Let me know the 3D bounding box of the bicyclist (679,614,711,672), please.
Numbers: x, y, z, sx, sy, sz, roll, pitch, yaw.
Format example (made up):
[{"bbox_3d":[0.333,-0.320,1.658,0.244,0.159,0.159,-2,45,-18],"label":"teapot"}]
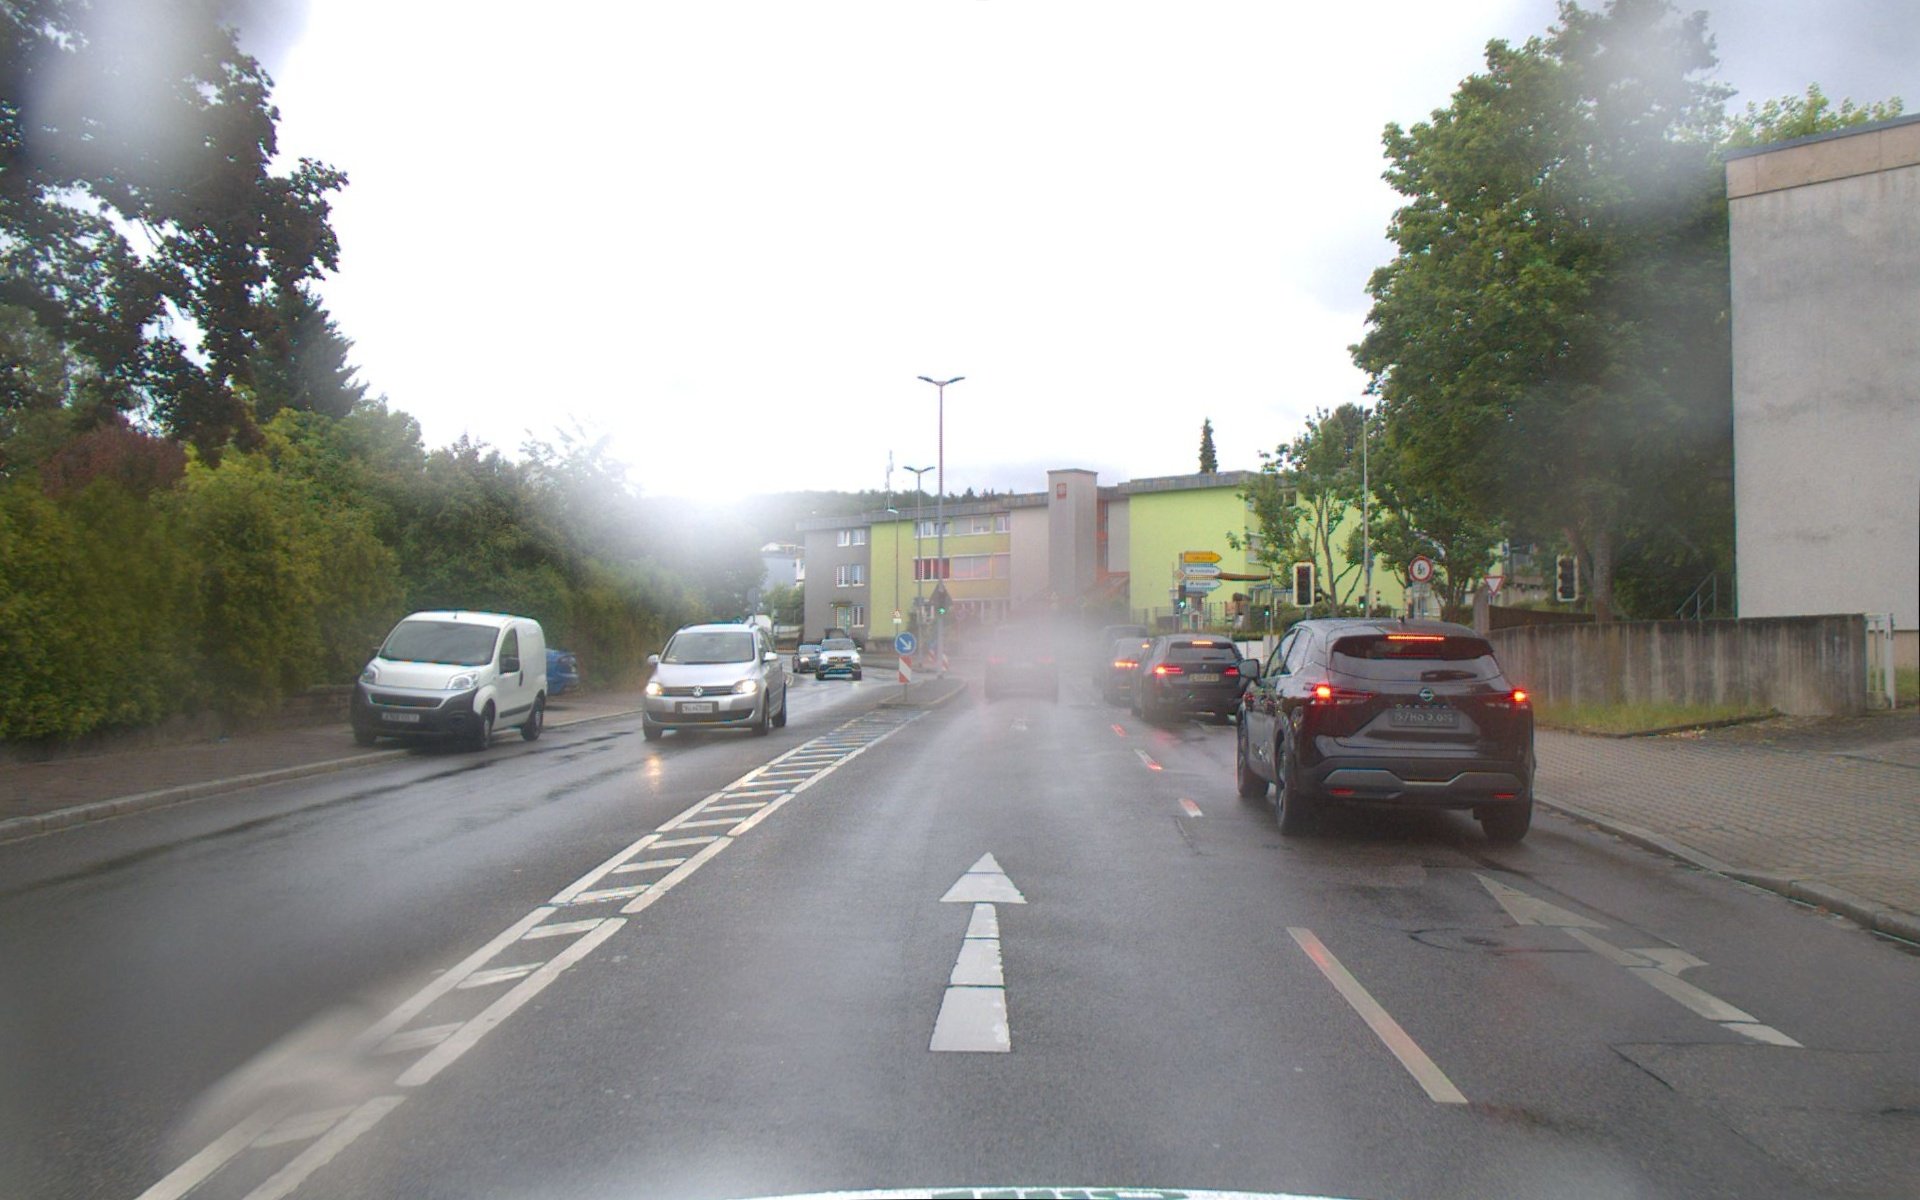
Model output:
[{"bbox_3d":[-7.694,1.247,48.011,0.749,1.640,0.868,1,-2,1],"label":"bicyclist"}]

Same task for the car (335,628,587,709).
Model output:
[{"bbox_3d":[-9.707,1.325,32.467,4.394,1.386,1.804,2,0,-4],"label":"car"}]

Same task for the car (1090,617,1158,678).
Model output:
[{"bbox_3d":[5.051,1.438,51.319,1.746,1.765,4.087,1,-1,1],"label":"car"}]

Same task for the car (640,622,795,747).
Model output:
[{"bbox_3d":[-3.483,1.178,24.395,1.601,1.607,4.057,-3,-1,0],"label":"car"}]

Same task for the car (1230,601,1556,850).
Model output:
[{"bbox_3d":[3.331,0.864,13.529,1.752,1.631,4.255,1,1,3],"label":"car"}]

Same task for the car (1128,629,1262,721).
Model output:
[{"bbox_3d":[4.112,1.287,29.592,1.865,1.484,4.779,-1,-1,2],"label":"car"}]

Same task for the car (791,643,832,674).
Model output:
[{"bbox_3d":[-7.967,3.126,88.653,1.956,1.602,3.991,1,-2,-9],"label":"car"}]

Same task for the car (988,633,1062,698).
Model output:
[{"bbox_3d":[1.625,1.636,42.366,1.648,1.532,3.772,1,-1,-1],"label":"car"}]

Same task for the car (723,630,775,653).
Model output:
[{"bbox_3d":[-18.739,3.662,146.917,4.322,1.803,1.992,-2,-2,-15],"label":"car"}]

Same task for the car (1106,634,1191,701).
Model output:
[{"bbox_3d":[4.280,1.509,38.057,1.671,1.452,4.510,-1,-1,3],"label":"car"}]

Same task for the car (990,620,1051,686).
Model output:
[{"bbox_3d":[1.829,1.592,50.971,1.682,1.877,4.086,1,0,0],"label":"car"}]

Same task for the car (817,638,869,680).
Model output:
[{"bbox_3d":[-5.307,2.610,74.387,2.003,1.746,4.473,-1,-1,-8],"label":"car"}]

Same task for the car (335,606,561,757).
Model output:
[{"bbox_3d":[-6.705,1.026,22.087,1.666,1.738,3.978,3,-1,0],"label":"car"}]
